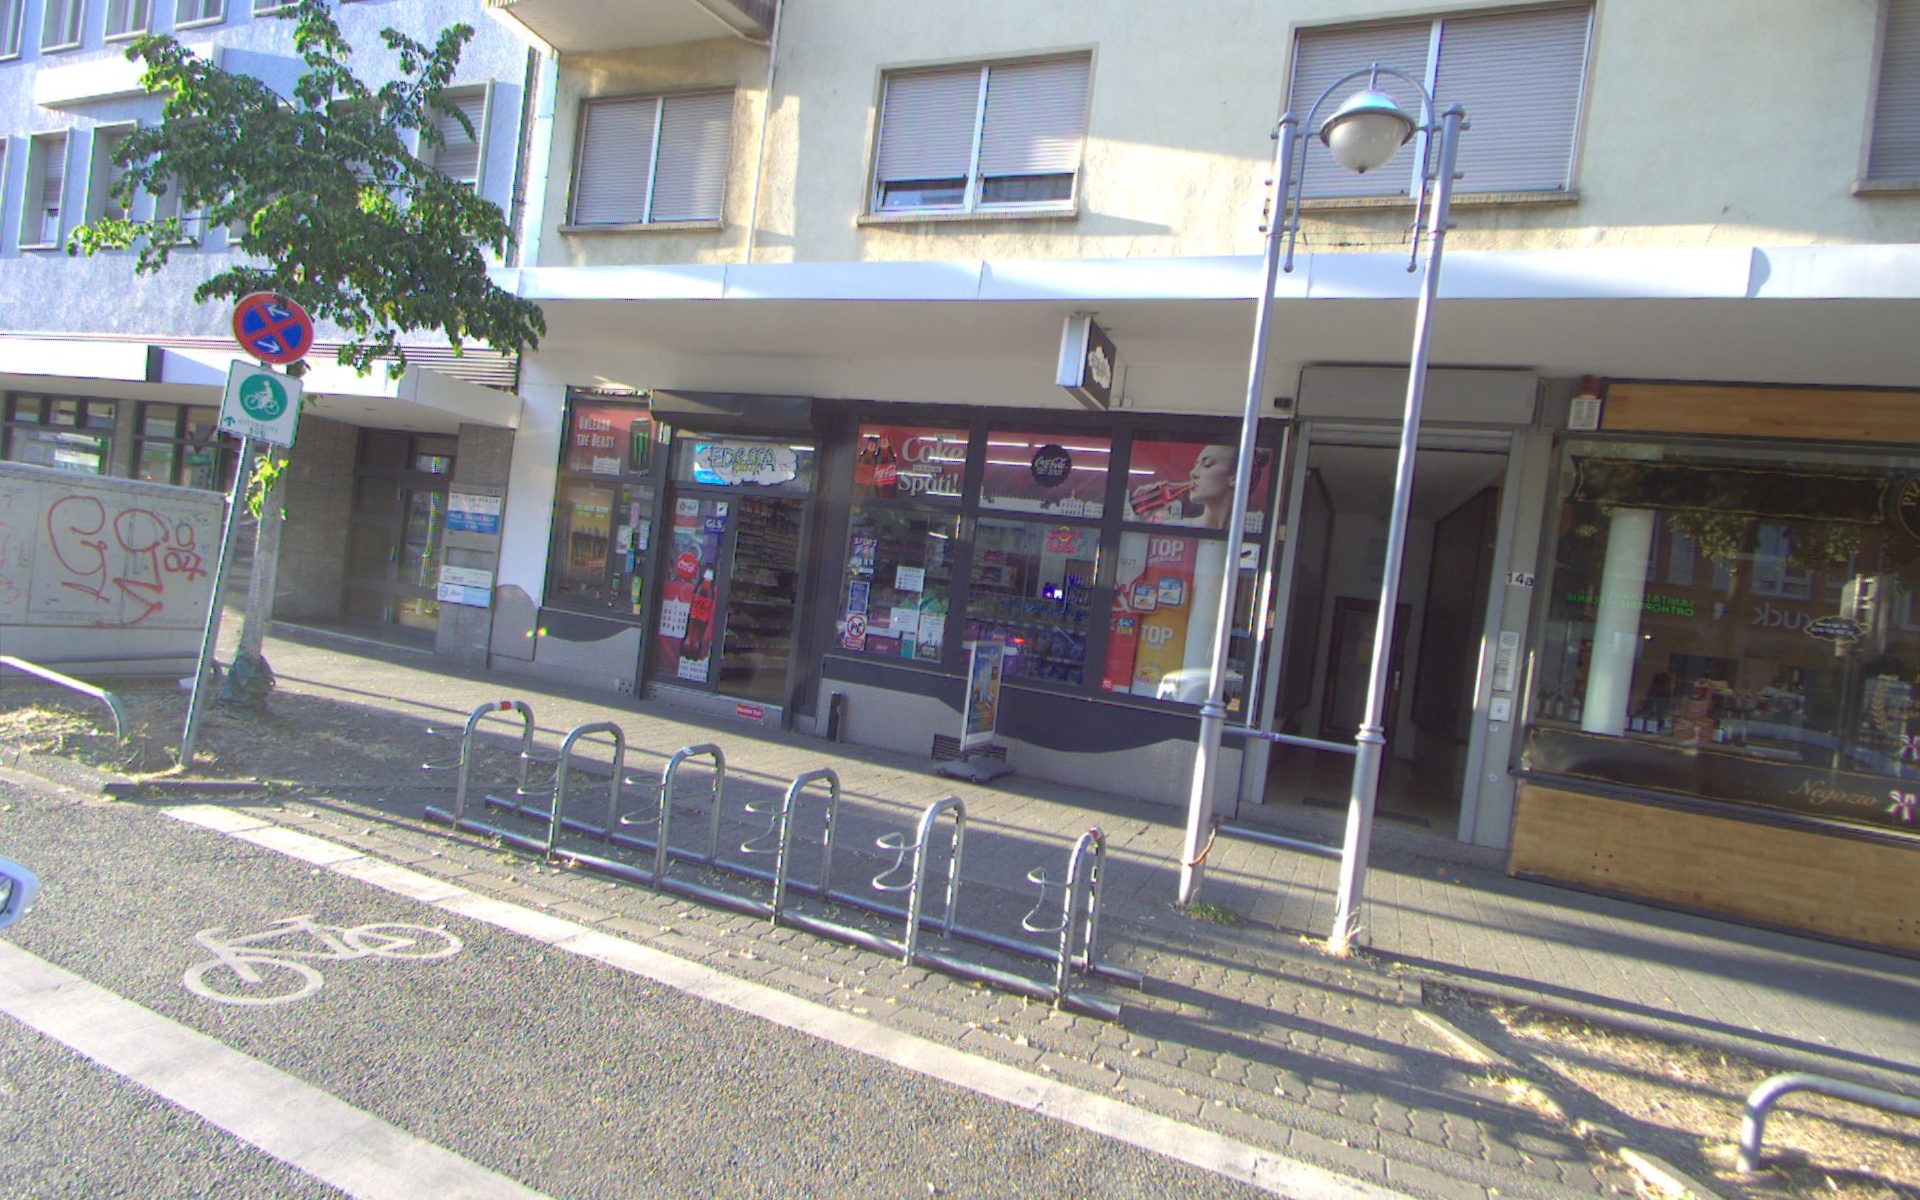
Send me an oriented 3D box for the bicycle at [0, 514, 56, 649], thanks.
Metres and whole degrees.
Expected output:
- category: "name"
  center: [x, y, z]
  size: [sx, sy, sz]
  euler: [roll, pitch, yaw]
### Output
- category: "bicycle"
  center: [-9.262, -0.230, 9.117]
  size: [0.376, 1.234, 1.446]
  euler: [7, -1, 25]
